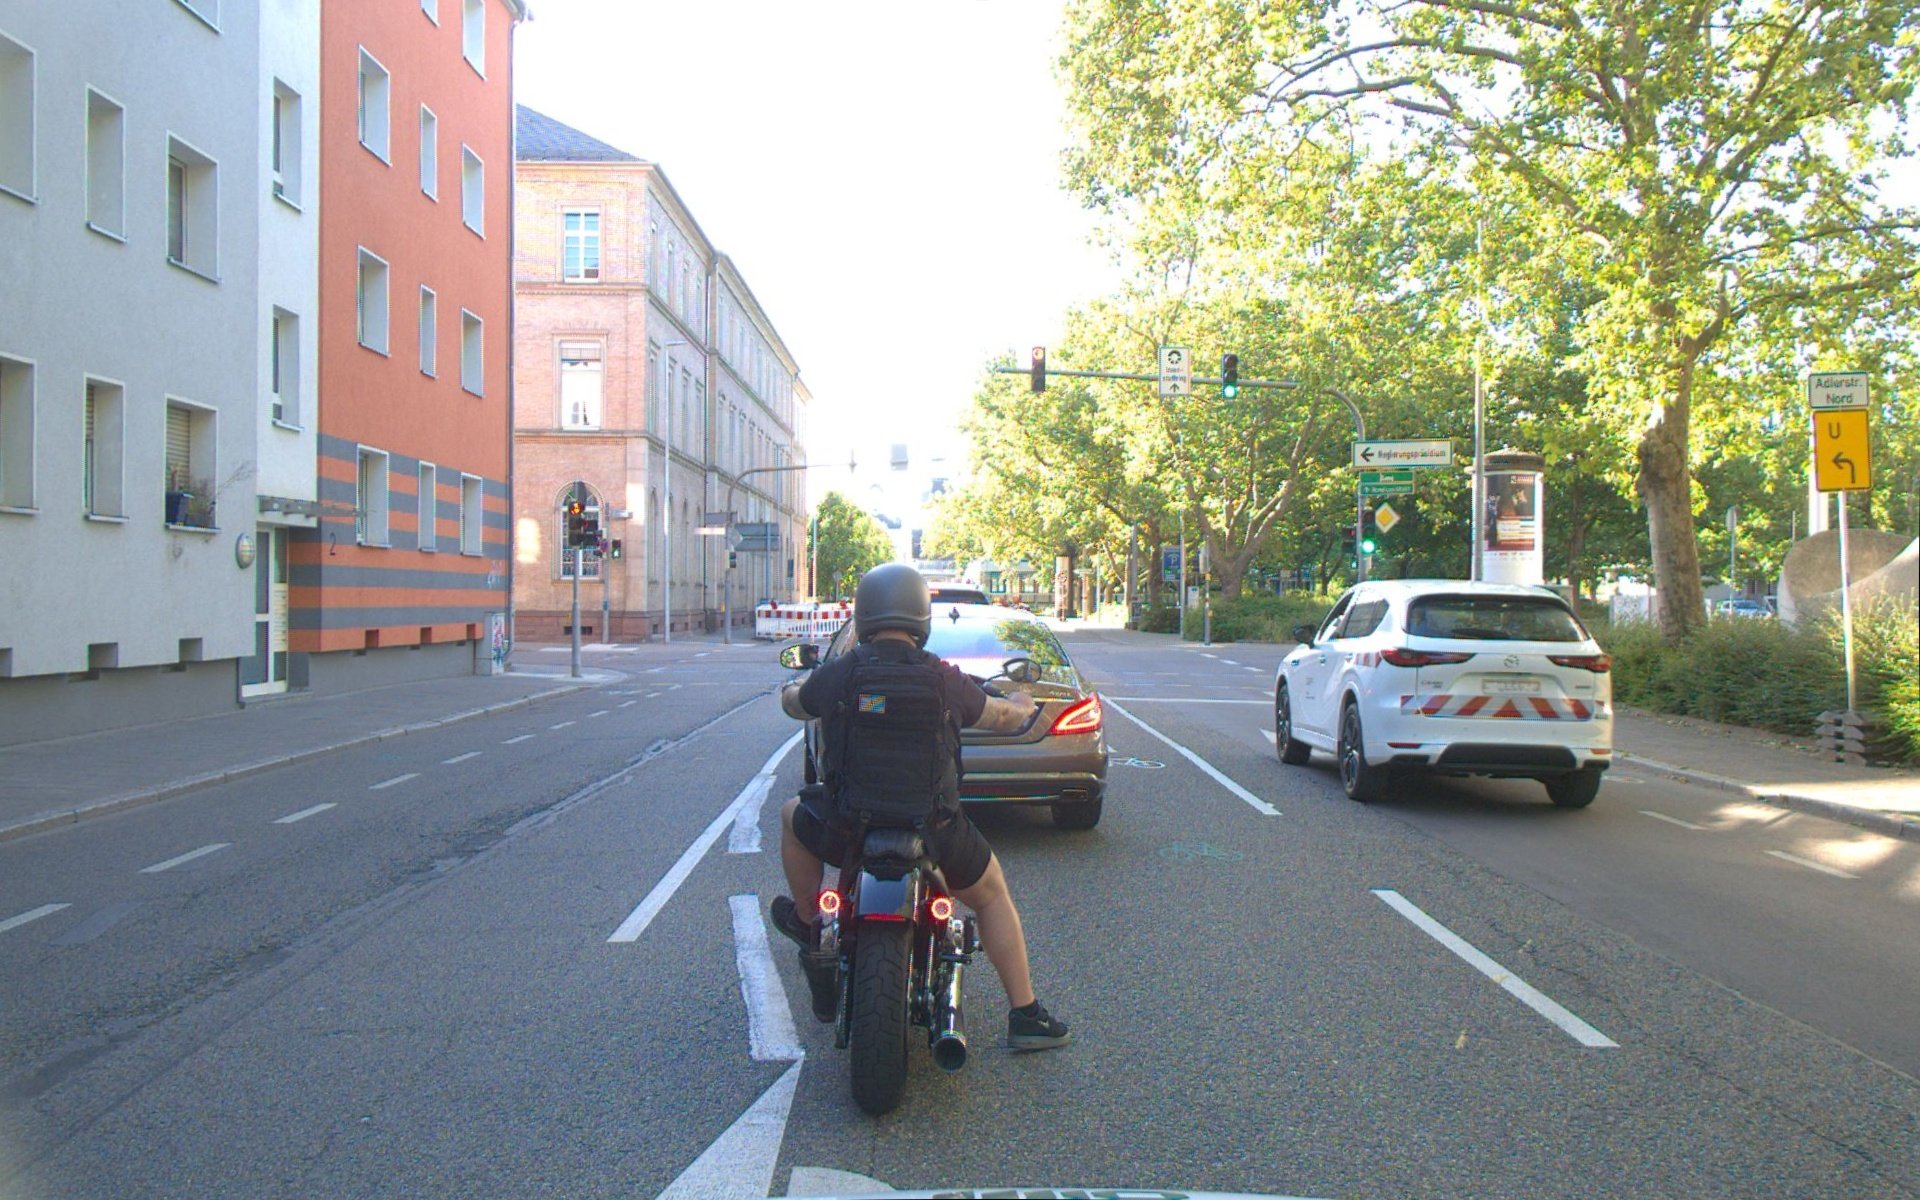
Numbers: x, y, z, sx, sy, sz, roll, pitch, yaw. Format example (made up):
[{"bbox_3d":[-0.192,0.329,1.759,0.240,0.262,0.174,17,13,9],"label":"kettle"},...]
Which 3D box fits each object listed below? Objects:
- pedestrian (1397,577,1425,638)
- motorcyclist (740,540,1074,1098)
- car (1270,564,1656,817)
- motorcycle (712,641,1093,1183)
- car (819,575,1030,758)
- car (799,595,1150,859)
[{"bbox_3d":[13.306,0.219,48.805,0.664,1.803,0.616,1,-1,29],"label":"pedestrian"},{"bbox_3d":[-0.161,0.629,5.401,0.961,1.606,1.248,0,0,-1],"label":"motorcyclist"},{"bbox_3d":[3.968,0.625,13.917,1.903,1.738,4.484,2,0,1],"label":"car"},{"bbox_3d":[-0.160,0.819,5.390,0.961,1.297,2.407,0,0,-1],"label":"motorcycle"},{"bbox_3d":[-0.361,0.633,17.546,1.953,1.695,3.999,1,0,-1],"label":"car"},{"bbox_3d":[-0.113,0.710,11.627,1.834,1.469,4.422,0,0,-8],"label":"car"}]
